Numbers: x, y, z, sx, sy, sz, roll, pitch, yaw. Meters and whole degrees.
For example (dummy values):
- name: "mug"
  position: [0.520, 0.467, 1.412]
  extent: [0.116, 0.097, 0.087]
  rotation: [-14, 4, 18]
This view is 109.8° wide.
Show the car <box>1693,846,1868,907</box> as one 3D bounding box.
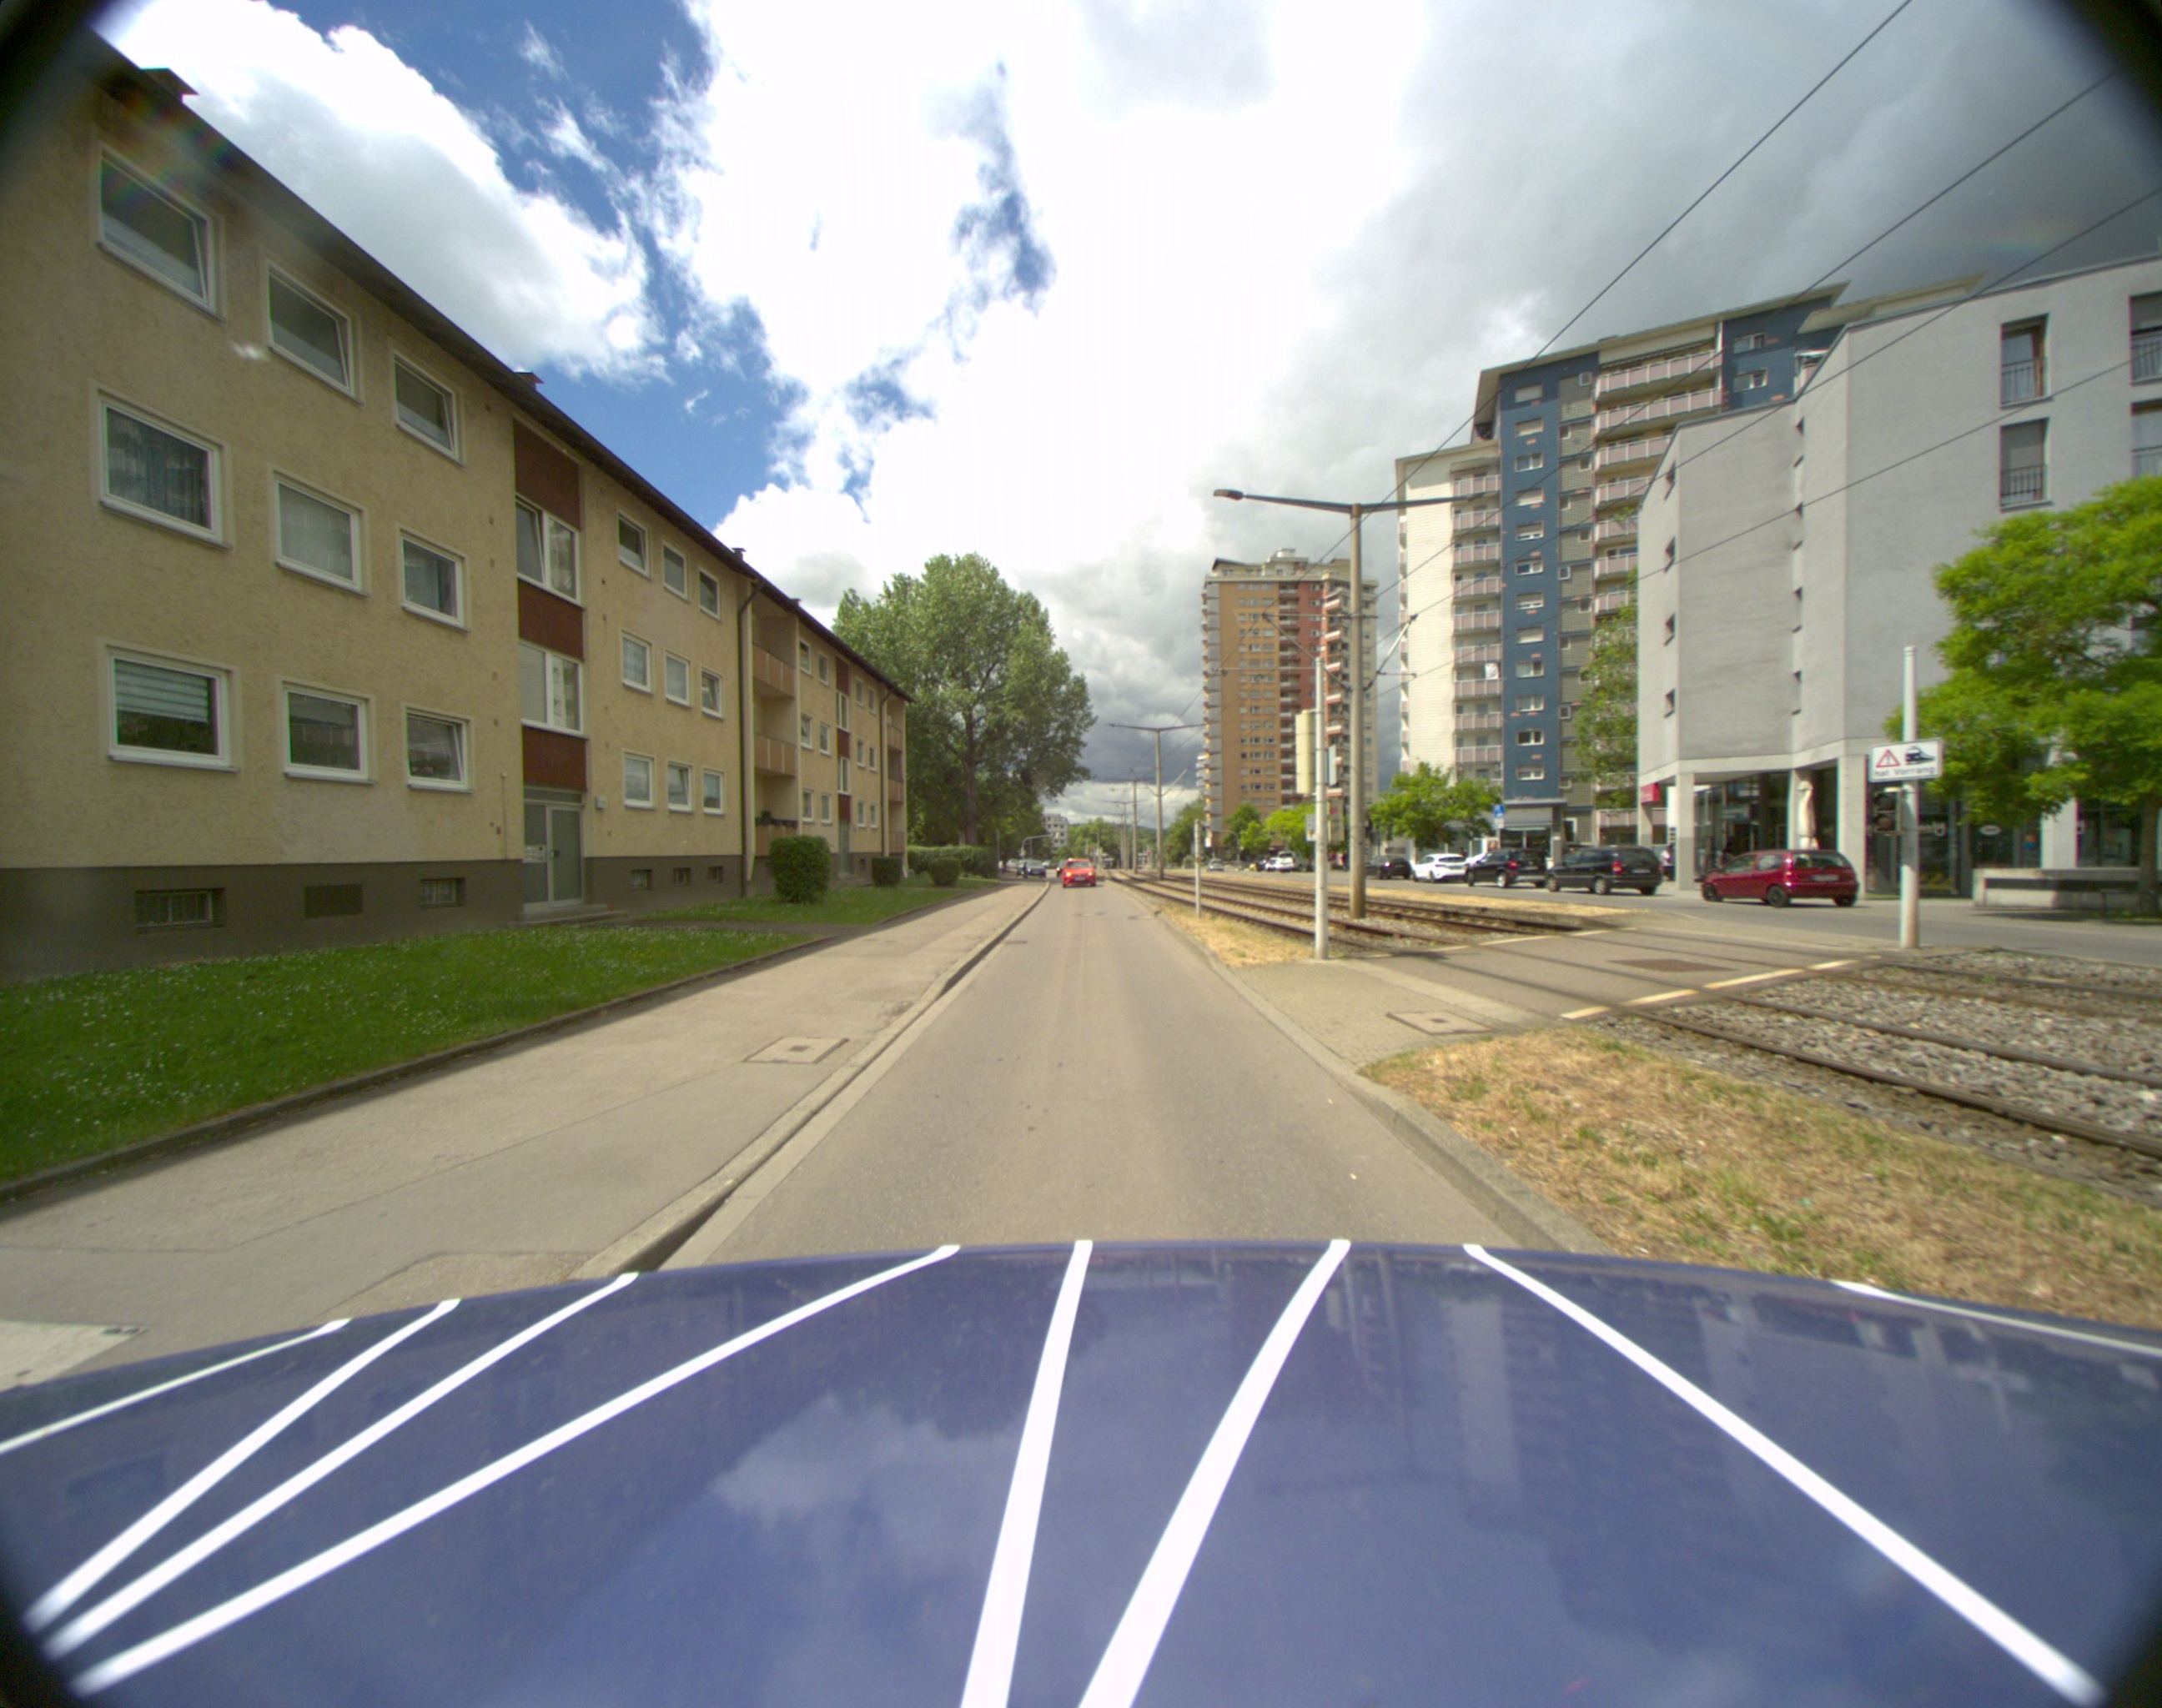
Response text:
- name: "car"
  position: [17.853, 0.556, 19.612]
  extent: [1.616, 1.418, 3.425]
  rotation: [0, -1, 7]

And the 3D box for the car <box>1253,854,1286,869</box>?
- name: "car"
  position: [21.176, 0.829, 85.227]
  extent: [1.927, 1.582, 4.009]
  rotation: [0, -1, 44]

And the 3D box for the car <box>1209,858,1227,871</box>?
- name: "car"
  position: [17.186, 1.289, 95.353]
  extent: [1.822, 1.523, 3.756]
  rotation: [0, -1, 4]

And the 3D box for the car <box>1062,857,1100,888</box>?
- name: "car"
  position: [-0.056, 0.924, 39.960]
  extent: [1.819, 1.483, 3.999]
  rotation: [-1, 0, -2]

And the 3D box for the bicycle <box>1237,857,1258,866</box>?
- name: "bicycle"
  position: [20.574, 0.966, 93.682]
  extent: [2.433, 1.059, 0.705]
  rotation: [0, 0, 1]

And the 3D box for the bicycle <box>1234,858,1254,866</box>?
- name: "bicycle"
  position: [20.613, 0.998, 95.988]
  extent: [2.433, 1.059, 0.705]
  rotation: [0, 0, 1]

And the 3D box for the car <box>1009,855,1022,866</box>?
- name: "car"
  position: [-10.483, 1.090, 121.518]
  extent: [1.802, 1.683, 3.605]
  rotation: [0, -1, 0]

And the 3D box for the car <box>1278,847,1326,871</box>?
- name: "car"
  position: [20.281, 0.487, 69.611]
  extent: [4.772, 2.144, 1.901]
  rotation: [1, -1, -41]

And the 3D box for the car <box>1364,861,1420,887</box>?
- name: "car"
  position: [18.590, 1.157, 45.559]
  extent: [1.738, 1.420, 4.381]
  rotation: [-1, 0, 3]

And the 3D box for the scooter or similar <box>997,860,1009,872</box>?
- name: "scooter or similar"
  position: [-6.833, 1.068, 66.694]
  extent: [0.892, 1.058, 2.114]
  rotation: [0, -1, -2]

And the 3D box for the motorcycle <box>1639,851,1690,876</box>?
- name: "motorcycle"
  position: [27.551, 0.453, 35.885]
  extent: [1.897, 1.171, 0.741]
  rotation: [0, 0, -2]

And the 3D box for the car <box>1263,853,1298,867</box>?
- name: "car"
  position: [21.214, 0.671, 80.735]
  extent: [3.774, 1.487, 1.742]
  rotation: [1, -1, -39]

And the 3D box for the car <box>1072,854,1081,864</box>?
- name: "car"
  position: [-1.006, 1.116, 166.270]
  extent: [1.998, 2.001, 4.000]
  rotation: [0, -1, 1]

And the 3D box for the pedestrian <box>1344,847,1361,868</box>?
- name: "pedestrian"
  position: [20.175, 0.262, 56.467]
  extent: [0.516, 1.561, 0.983]
  rotation: [2, -3, -33]

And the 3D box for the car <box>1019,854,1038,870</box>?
- name: "car"
  position: [-5.363, 0.827, 77.547]
  extent: [1.789, 1.556, 4.568]
  rotation: [0, -1, -5]

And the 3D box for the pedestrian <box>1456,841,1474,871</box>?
- name: "pedestrian"
  position: [22.793, 0.119, 45.126]
  extent: [0.613, 1.782, 0.843]
  rotation: [0, 0, 0]

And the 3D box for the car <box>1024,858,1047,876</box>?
- name: "car"
  position: [-3.779, 1.082, 63.383]
  extent: [1.820, 1.440, 3.825]
  rotation: [0, -1, -4]

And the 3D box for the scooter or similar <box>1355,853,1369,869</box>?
- name: "scooter or similar"
  position: [20.626, 0.488, 55.689]
  extent: [0.582, 1.117, 0.767]
  rotation: [3, -3, -33]

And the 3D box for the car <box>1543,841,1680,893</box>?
- name: "car"
  position: [18.122, 0.436, 26.215]
  extent: [1.998, 1.638, 4.101]
  rotation: [0, -1, 3]

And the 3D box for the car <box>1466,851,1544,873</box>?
- name: "car"
  position: [28.349, 0.543, 50.836]
  extent: [4.343, 1.434, 2.004]
  rotation: [0, -1, 36]

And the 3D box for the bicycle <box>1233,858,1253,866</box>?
- name: "bicycle"
  position: [20.627, 1.008, 96.788]
  extent: [2.433, 1.059, 0.705]
  rotation: [0, 0, 1]

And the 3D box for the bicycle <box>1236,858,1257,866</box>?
- name: "bicycle"
  position: [20.591, 0.976, 94.420]
  extent: [2.433, 1.059, 0.705]
  rotation: [0, 0, 1]

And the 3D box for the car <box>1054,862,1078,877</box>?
- name: "car"
  position: [-1.231, 1.305, 65.895]
  extent: [1.998, 1.280, 4.000]
  rotation: [0, -1, 0]

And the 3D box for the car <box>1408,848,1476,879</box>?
- name: "car"
  position: [18.297, 0.496, 38.729]
  extent: [1.758, 1.466, 4.402]
  rotation: [0, -1, 6]

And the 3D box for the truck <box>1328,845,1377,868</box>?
- name: "truck"
  position: [43.680, 0.459, 122.512]
  extent: [7.090, 3.652, 2.548]
  rotation: [0, 0, 7]

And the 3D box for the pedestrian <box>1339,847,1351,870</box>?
- name: "pedestrian"
  position: [21.247, 0.354, 61.103]
  extent: [0.842, 1.782, 0.875]
  rotation: [0, 0, 15]

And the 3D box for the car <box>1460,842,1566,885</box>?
- name: "car"
  position: [18.128, 0.396, 32.144]
  extent: [1.999, 1.653, 4.099]
  rotation: [-1, -1, -2]

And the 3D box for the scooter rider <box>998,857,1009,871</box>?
- name: "scooter rider"
  position: [-6.838, 0.915, 66.708]
  extent: [0.887, 1.213, 1.282]
  rotation: [0, -1, -3]
